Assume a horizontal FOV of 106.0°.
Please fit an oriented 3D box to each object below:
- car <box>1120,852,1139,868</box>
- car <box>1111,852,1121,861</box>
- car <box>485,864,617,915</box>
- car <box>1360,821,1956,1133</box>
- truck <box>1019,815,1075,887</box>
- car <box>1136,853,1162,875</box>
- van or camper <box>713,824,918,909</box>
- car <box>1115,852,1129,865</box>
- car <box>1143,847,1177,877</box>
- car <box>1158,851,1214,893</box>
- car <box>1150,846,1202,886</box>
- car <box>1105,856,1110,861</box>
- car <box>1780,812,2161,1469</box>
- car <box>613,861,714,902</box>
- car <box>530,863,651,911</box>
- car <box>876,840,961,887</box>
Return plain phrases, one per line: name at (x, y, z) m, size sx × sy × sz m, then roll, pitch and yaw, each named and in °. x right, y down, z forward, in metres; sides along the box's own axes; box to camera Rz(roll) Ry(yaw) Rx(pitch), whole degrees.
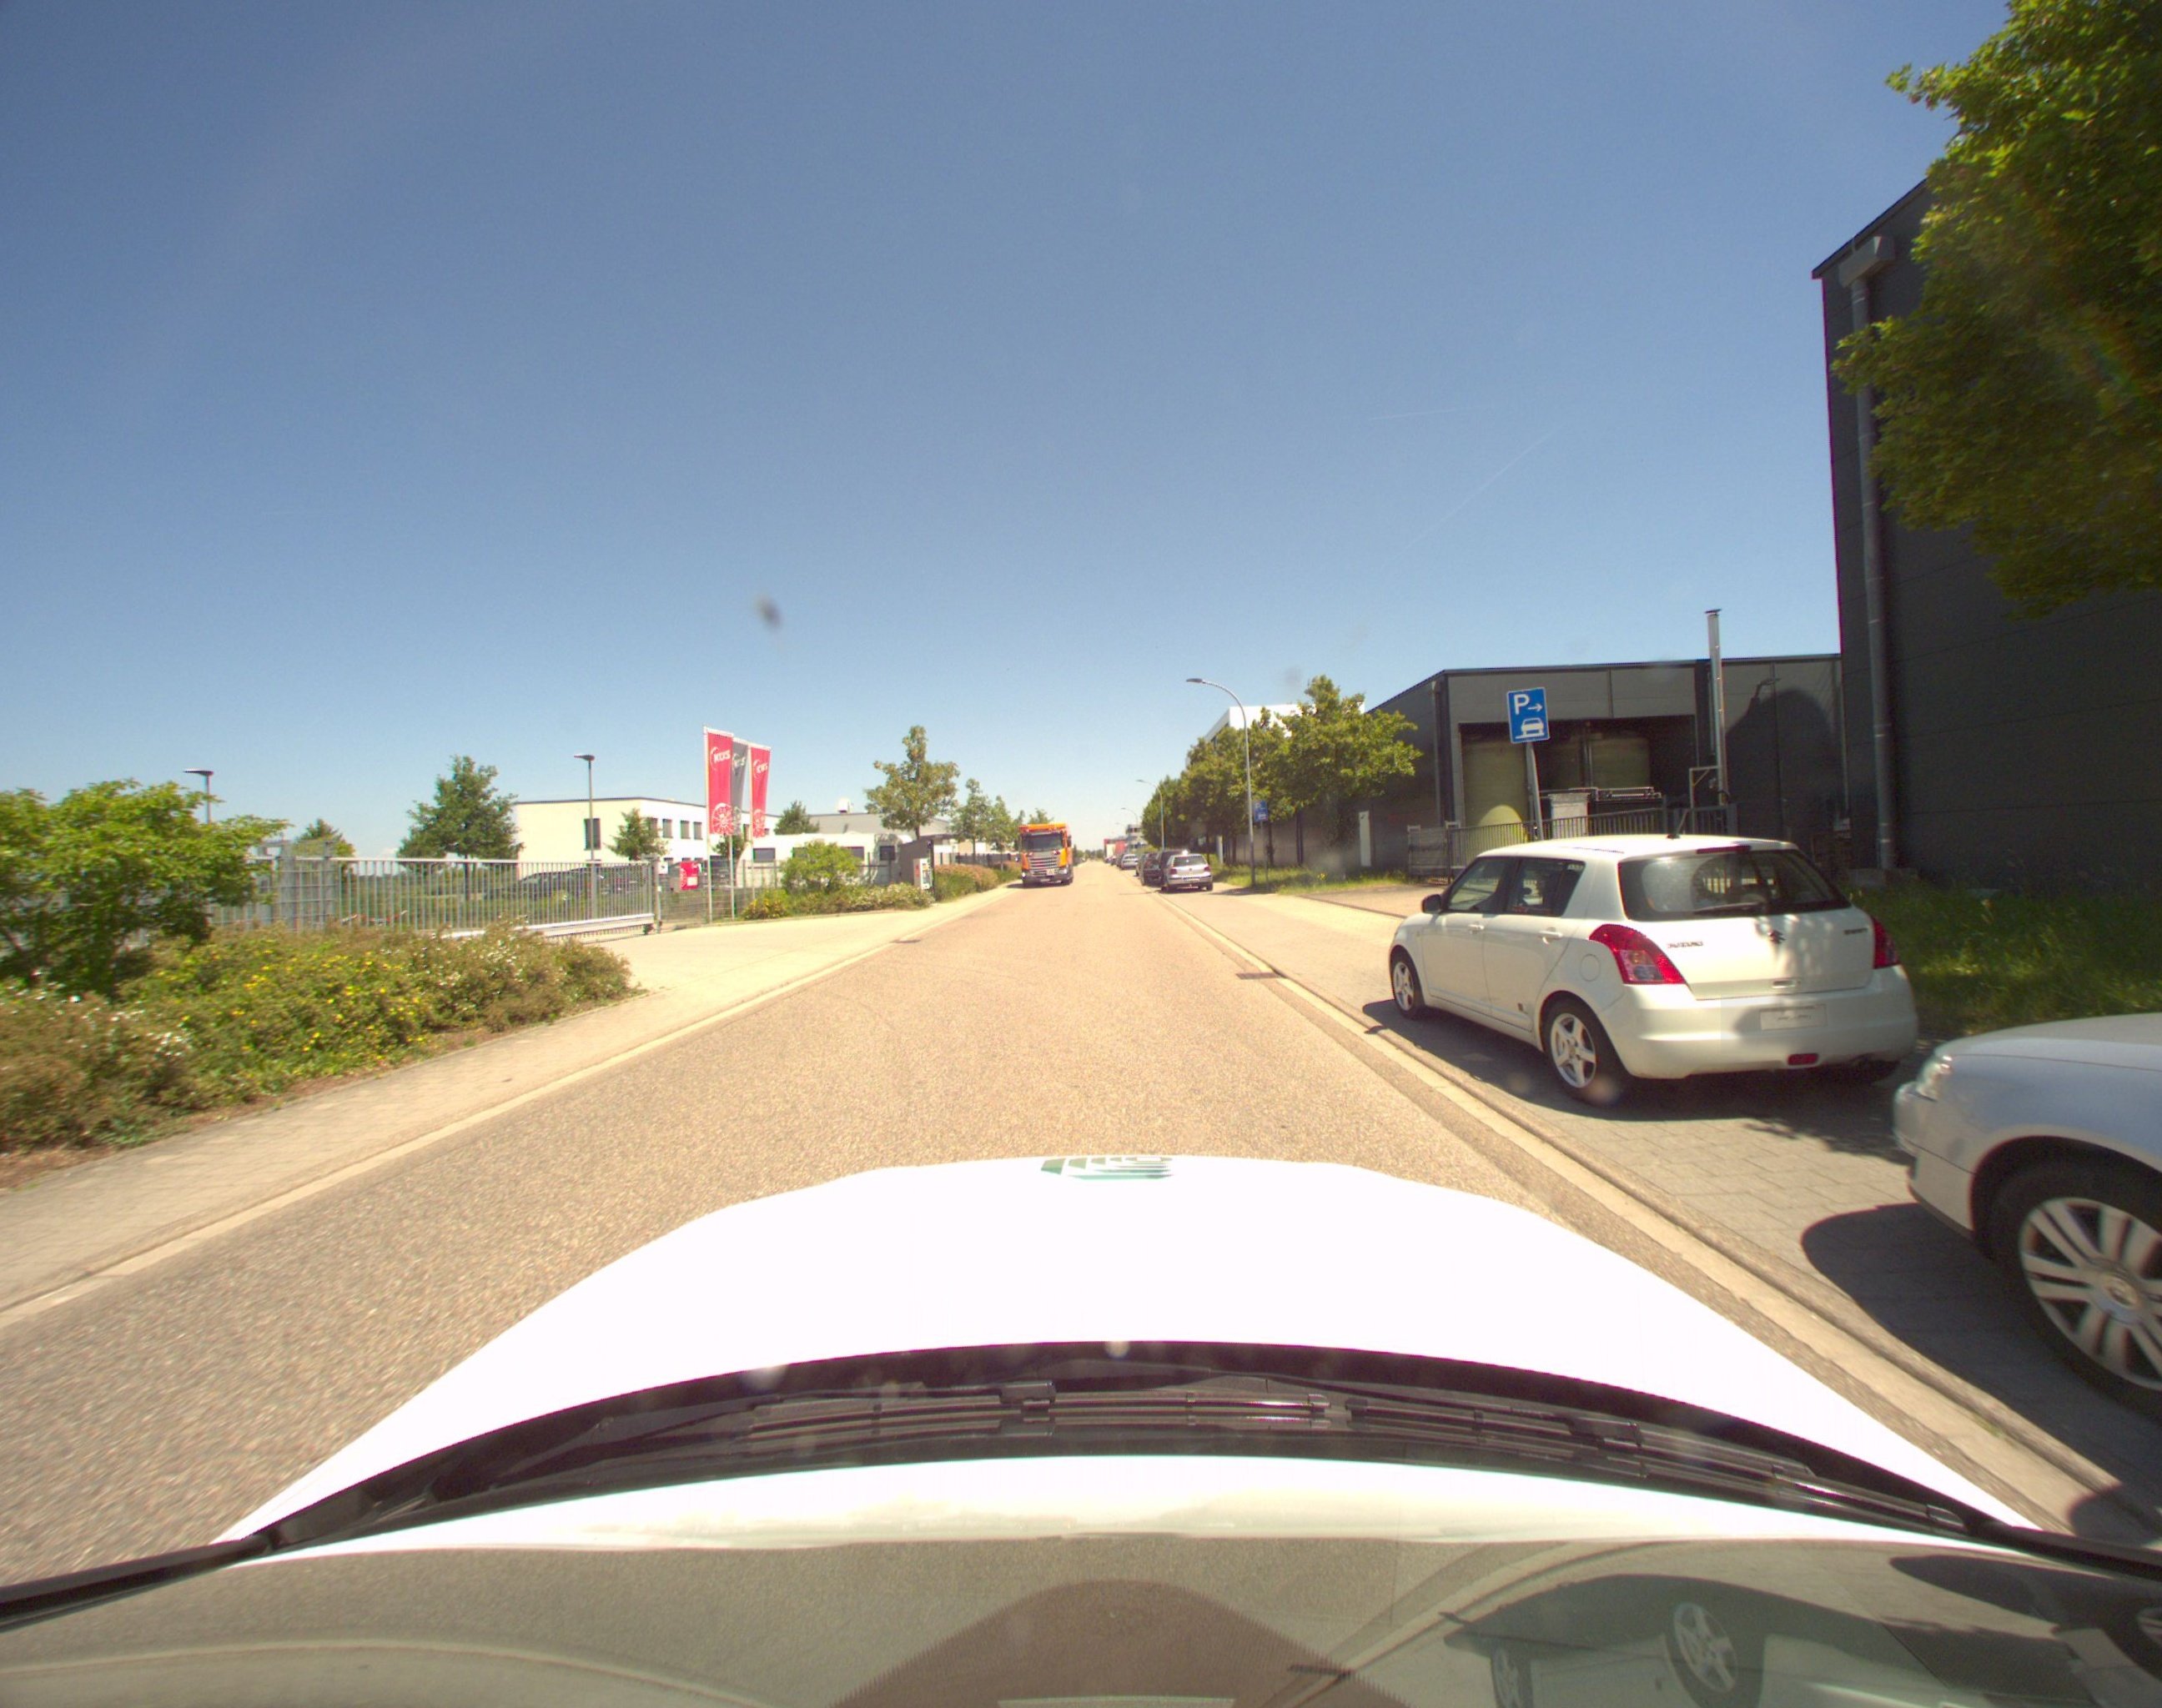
car at (4.679, 0.599, 78.482) m, size 1.579 × 1.409 × 3.501 m, roll -3°, pitch 0°, yaw 1°
car at (6.116, 0.468, 142.950) m, size 1.490 × 1.409 × 3.501 m, roll -3°, pitch 0°, yaw 1°
car at (-21.301, 1.405, 32.856) m, size 3.974 × 1.816 × 1.916 m, roll -3°, pitch 0°, yaw 0°
car at (3.562, 0.604, 5.980) m, size 1.631 × 1.469 × 3.744 m, roll -3°, pitch 0°, yaw -1°
truck at (-1.779, -0.190, 45.946) m, size 2.440 × 3.513 × 8.274 m, roll -4°, pitch 0°, yaw 1°
car at (4.618, 0.651, 55.737) m, size 1.490 × 1.409 × 3.501 m, roll -3°, pitch 0°, yaw 1°
van or camper at (-10.766, 0.484, 33.604) m, size 7.361 × 3.037 × 2.790 m, roll -3°, pitch 0°, yaw 0°
car at (5.117, 0.548, 101.804) m, size 1.490 × 1.409 × 3.501 m, roll -3°, pitch 0°, yaw 1°
car at (4.747, 0.464, 49.457) m, size 1.715 × 1.694 × 3.986 m, roll -3°, pitch 0°, yaw 2°
car at (4.017, 0.673, 31.601) m, size 1.712 × 1.449 × 3.647 m, roll -3°, pitch 0°, yaw 1°
car at (4.316, 0.531, 37.602) m, size 1.674 × 1.686 × 3.996 m, roll -3°, pitch 0°, yaw -3°
car at (8.347, 1.518, 254.099) m, size 1.490 × 1.409 × 3.501 m, roll -3°, pitch 0°, yaw 1°
car at (3.382, 0.643, 0.692) m, size 1.742 × 1.562 × 4.507 m, roll -3°, pitch 0°, yaw 2°
car at (-20.826, 1.340, 40.720) m, size 3.974 × 1.816 × 1.916 m, roll -3°, pitch 0°, yaw 0°
car at (-21.206, 1.384, 35.303) m, size 3.974 × 1.816 × 1.916 m, roll -3°, pitch 0°, yaw 0°
car at (-9.912, 0.576, 49.907) m, size 4.704 × 2.586 × 1.998 m, roll -3°, pitch 0°, yaw -3°
